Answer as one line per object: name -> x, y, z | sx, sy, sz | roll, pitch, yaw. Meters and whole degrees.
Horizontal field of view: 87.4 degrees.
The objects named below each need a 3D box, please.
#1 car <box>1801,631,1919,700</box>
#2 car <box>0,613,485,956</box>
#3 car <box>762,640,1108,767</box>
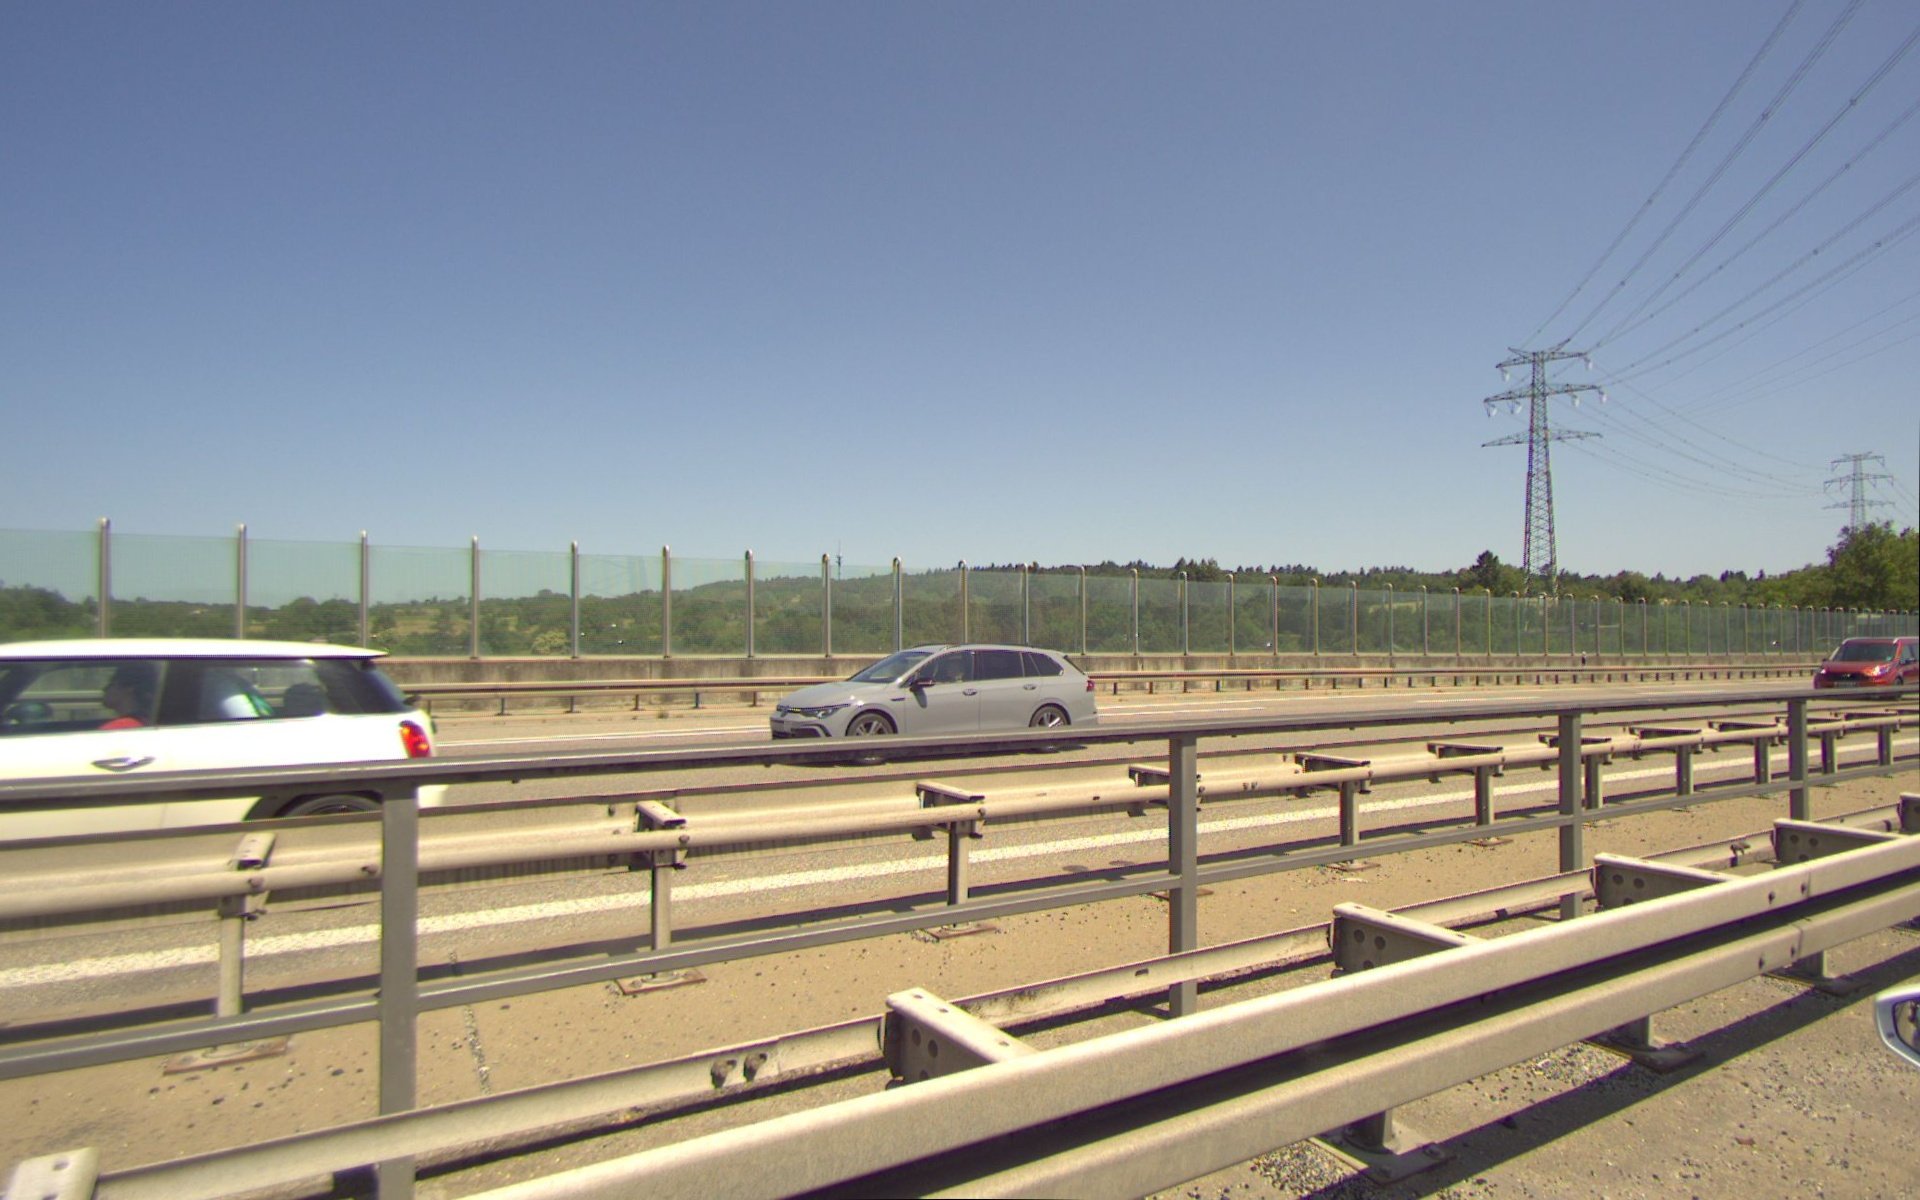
car -> 26.586, 1.885, 29.213 | 4.694, 1.846, 1.830 | 2, -3, -31
car -> -4.651, 0.934, 5.486 | 3.567, 1.549, 1.864 | 2, -7, -31
car -> -0.285, 1.306, 13.546 | 4.335, 1.461, 1.863 | 2, -3, -31
